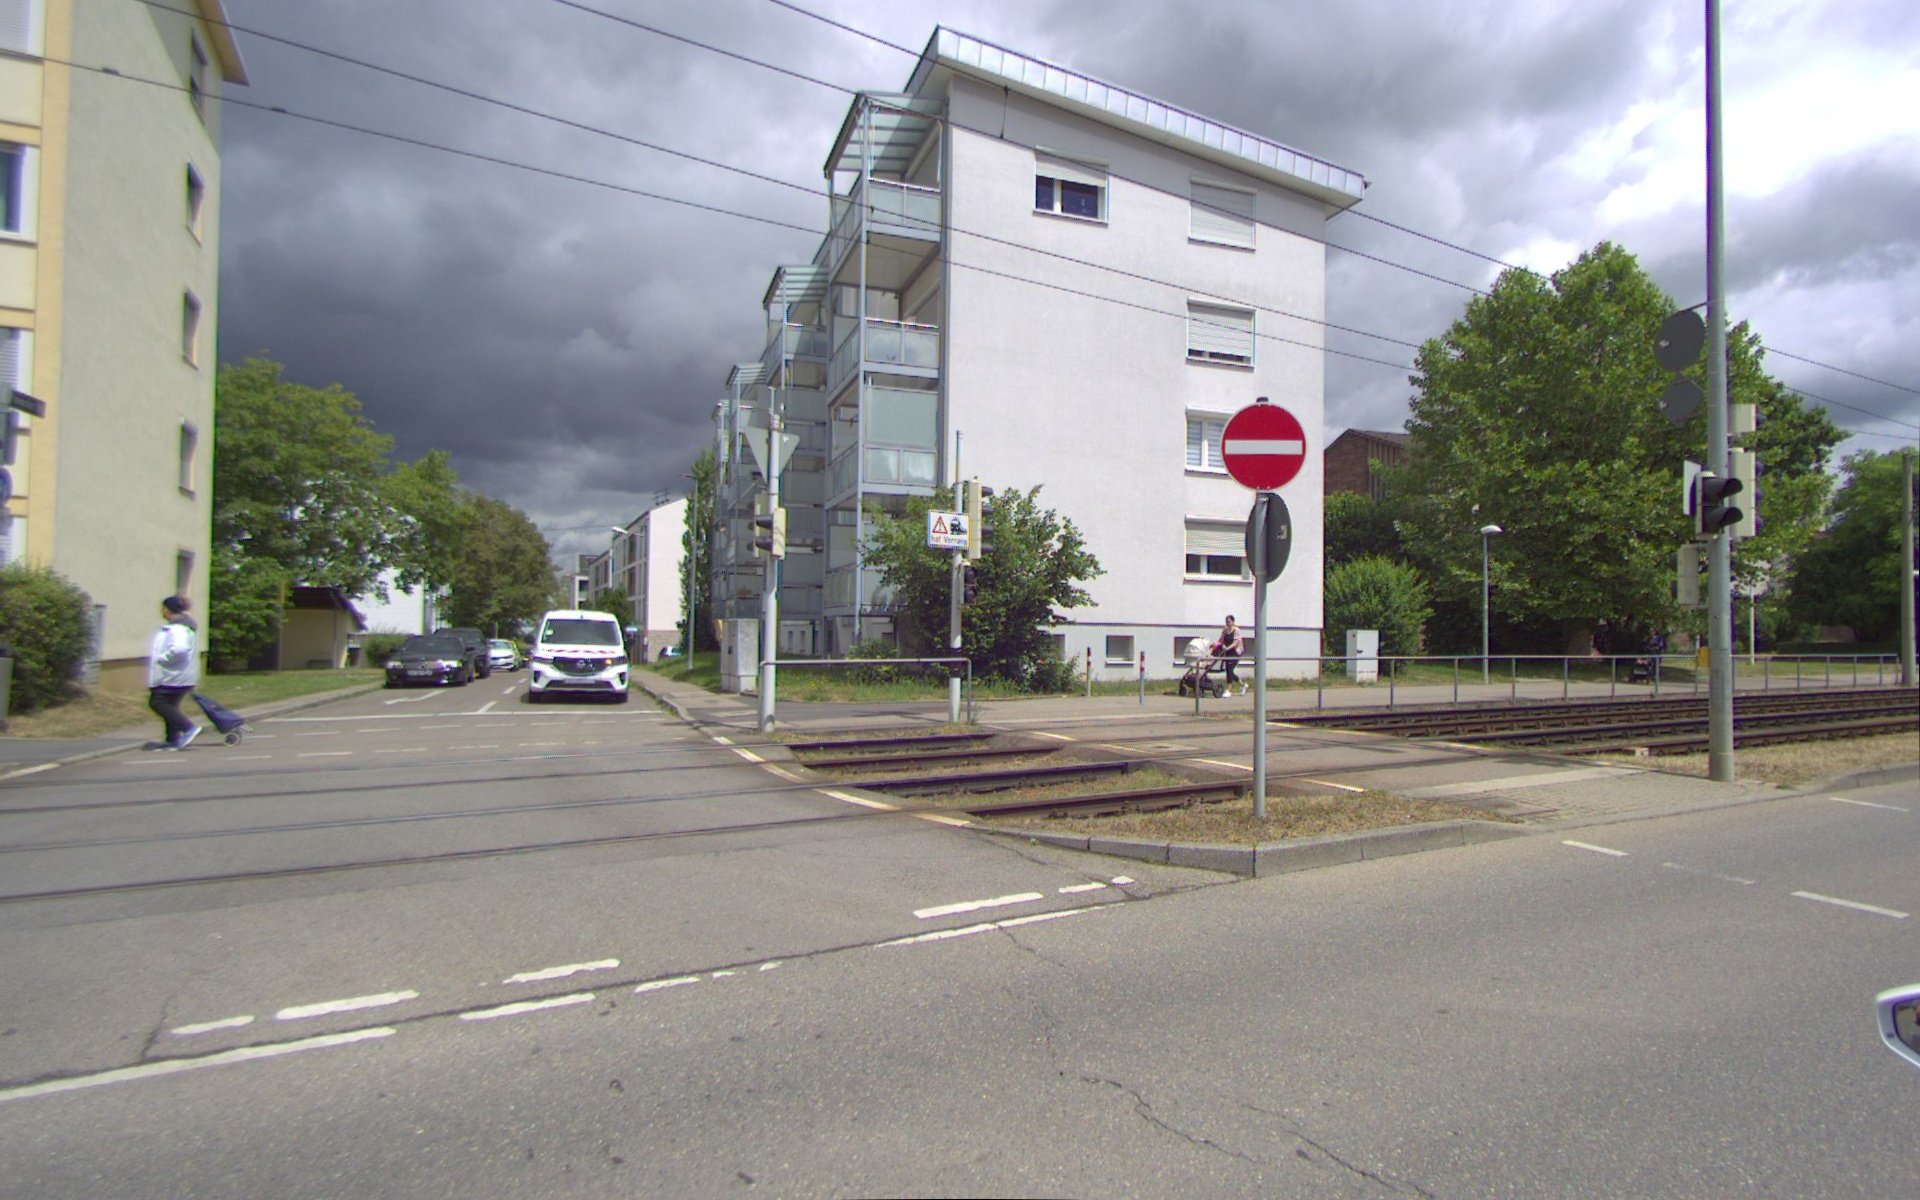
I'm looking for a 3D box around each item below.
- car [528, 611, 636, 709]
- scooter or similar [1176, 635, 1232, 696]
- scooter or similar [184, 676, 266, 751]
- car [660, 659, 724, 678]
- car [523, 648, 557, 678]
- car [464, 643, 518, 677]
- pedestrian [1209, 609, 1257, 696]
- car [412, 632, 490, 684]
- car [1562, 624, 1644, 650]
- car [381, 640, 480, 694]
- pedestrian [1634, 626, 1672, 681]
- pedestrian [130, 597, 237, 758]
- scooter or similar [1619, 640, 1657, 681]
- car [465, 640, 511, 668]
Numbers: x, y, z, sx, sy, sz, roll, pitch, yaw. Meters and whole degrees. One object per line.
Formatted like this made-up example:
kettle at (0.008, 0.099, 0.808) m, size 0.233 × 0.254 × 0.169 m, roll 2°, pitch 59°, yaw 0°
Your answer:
car at (-7.655, 1.144, 20.233) m, size 1.784 × 1.751 × 4.269 m, roll 2°, pitch -2°, yaw -22°
scooter or similar at (4.847, 1.293, 19.955) m, size 0.881 × 1.178 × 0.605 m, roll 2°, pitch -1°, yaw -29°
scooter or similar at (-8.193, 1.253, 11.224) m, size 0.658 × 0.784 × 0.530 m, roll 2°, pitch -3°, yaw -30°
car at (-18.389, 4.685, 68.953) m, size 3.951 × 1.210 × 1.880 m, roll 2°, pitch 0°, yaw -29°
car at (-29.112, 4.369, 69.686) m, size 1.970 × 2.039 × 3.983 m, roll 2°, pitch -4°, yaw -20°
car at (-19.798, 2.519, 42.525) m, size 1.895 × 1.312 × 3.977 m, roll 2°, pitch -2°, yaw -24°
pedestrian at (5.527, 1.056, 20.361) m, size 0.671 × 1.715 × 0.642 m, roll 2°, pitch -1°, yaw -29°
car at (-15.672, 1.752, 31.099) m, size 1.895 × 1.446 × 3.977 m, roll 2°, pitch -2°, yaw -24°
car at (42.861, 2.462, 66.979) m, size 4.397 × 1.595 × 1.996 m, roll 2°, pitch 0°, yaw -11°
car at (-13.421, 1.668, 25.650) m, size 1.895 × 1.186 × 3.977 m, roll 2°, pitch -2°, yaw -24°
pedestrian at (20.154, 1.561, 29.209) m, size 0.864 × 1.560 × 0.610 m, roll 2°, pitch -1°, yaw -30°
pedestrian at (-8.208, 0.807, 10.648) m, size 0.765 × 1.628 × 0.601 m, roll 2°, pitch -3°, yaw -30°
scooter or similar at (19.426, 1.722, 28.769) m, size 0.811 × 1.130 × 0.601 m, roll 2°, pitch -1°, yaw -30°
car at (-23.709, 2.701, 50.562) m, size 1.895 × 1.312 × 3.977 m, roll 2°, pitch -2°, yaw -24°
